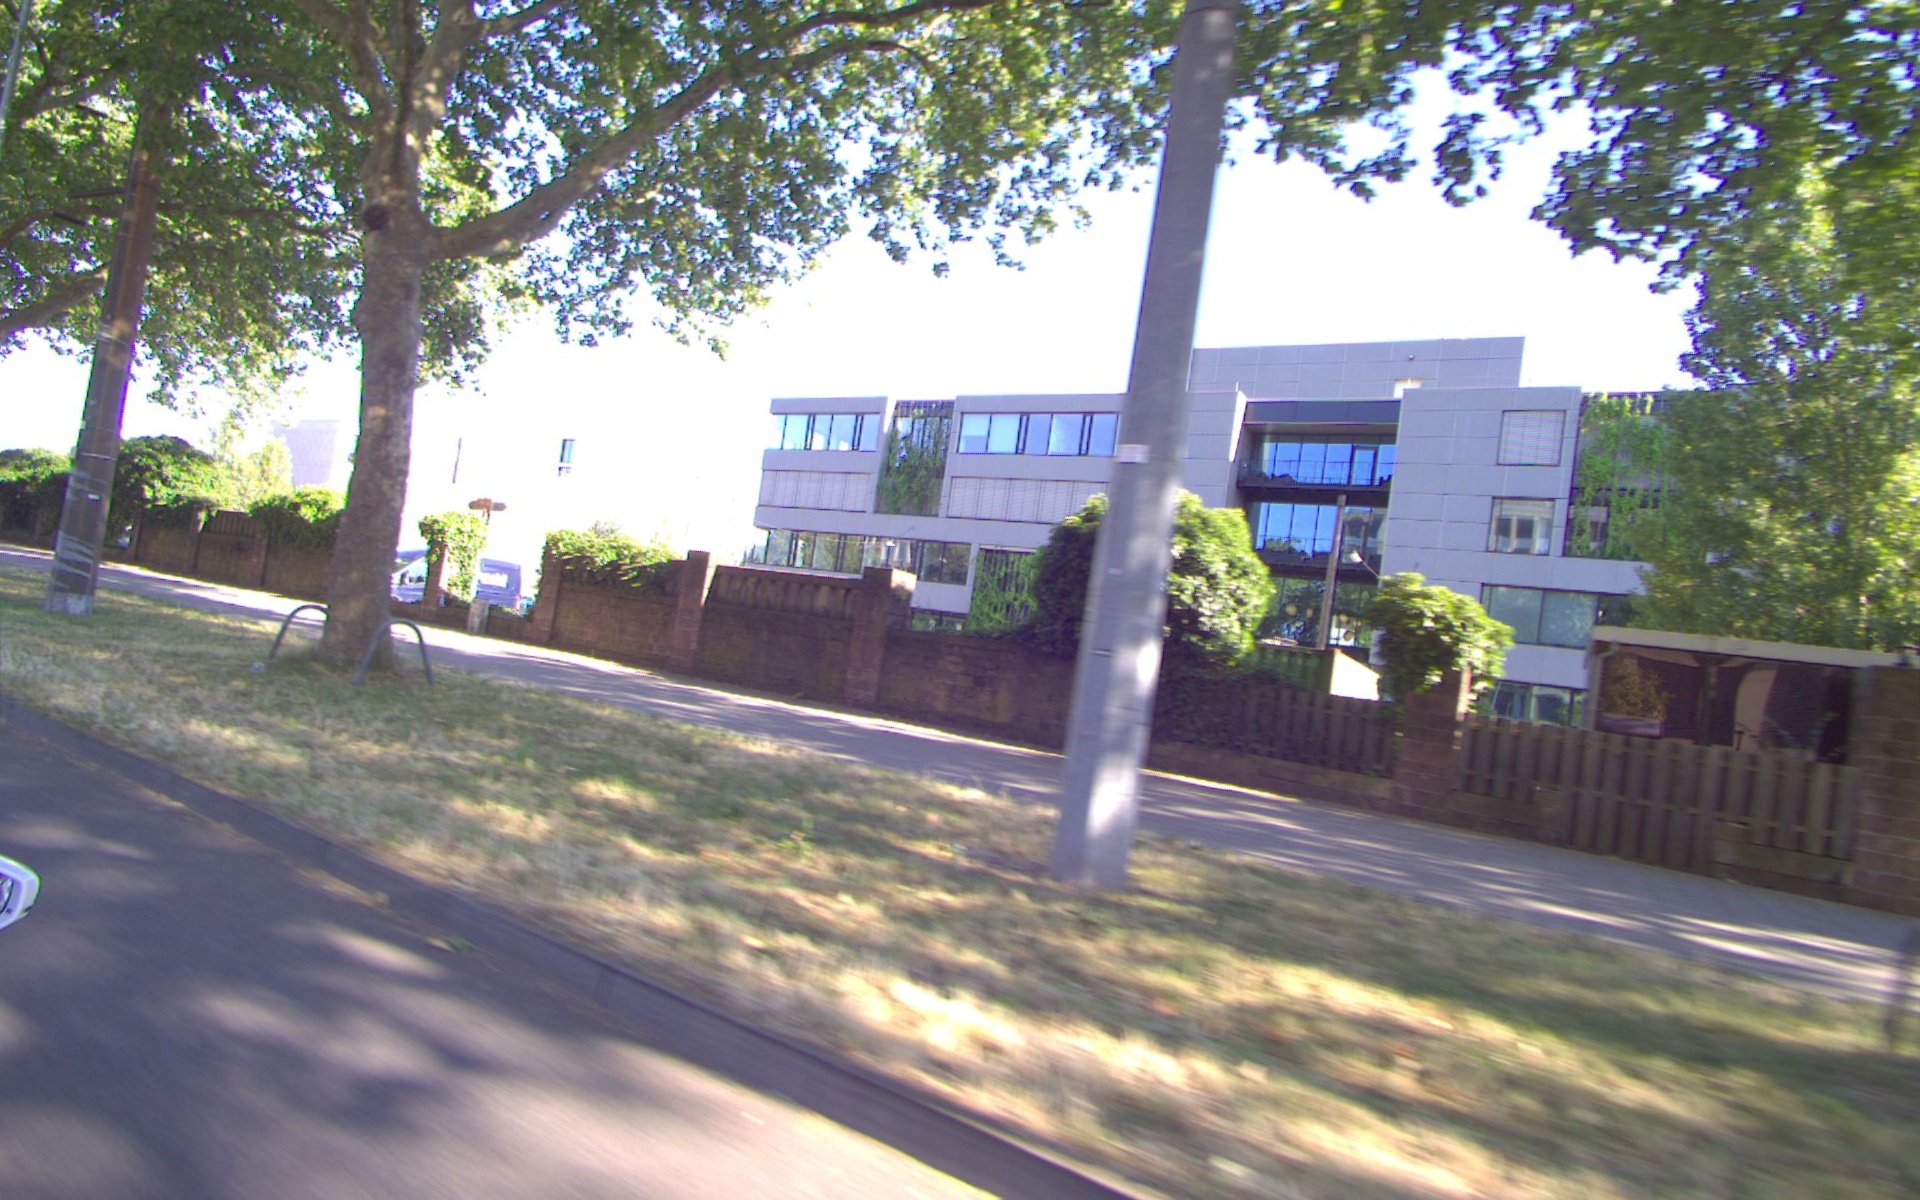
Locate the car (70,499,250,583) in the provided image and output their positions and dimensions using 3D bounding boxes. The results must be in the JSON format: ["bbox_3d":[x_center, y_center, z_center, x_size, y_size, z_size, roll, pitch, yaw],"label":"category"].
[{"bbox_3d":[-34.361,-2.482,43.418,1.967,2.516,5.478,7,-4,31],"label":"car"}]
